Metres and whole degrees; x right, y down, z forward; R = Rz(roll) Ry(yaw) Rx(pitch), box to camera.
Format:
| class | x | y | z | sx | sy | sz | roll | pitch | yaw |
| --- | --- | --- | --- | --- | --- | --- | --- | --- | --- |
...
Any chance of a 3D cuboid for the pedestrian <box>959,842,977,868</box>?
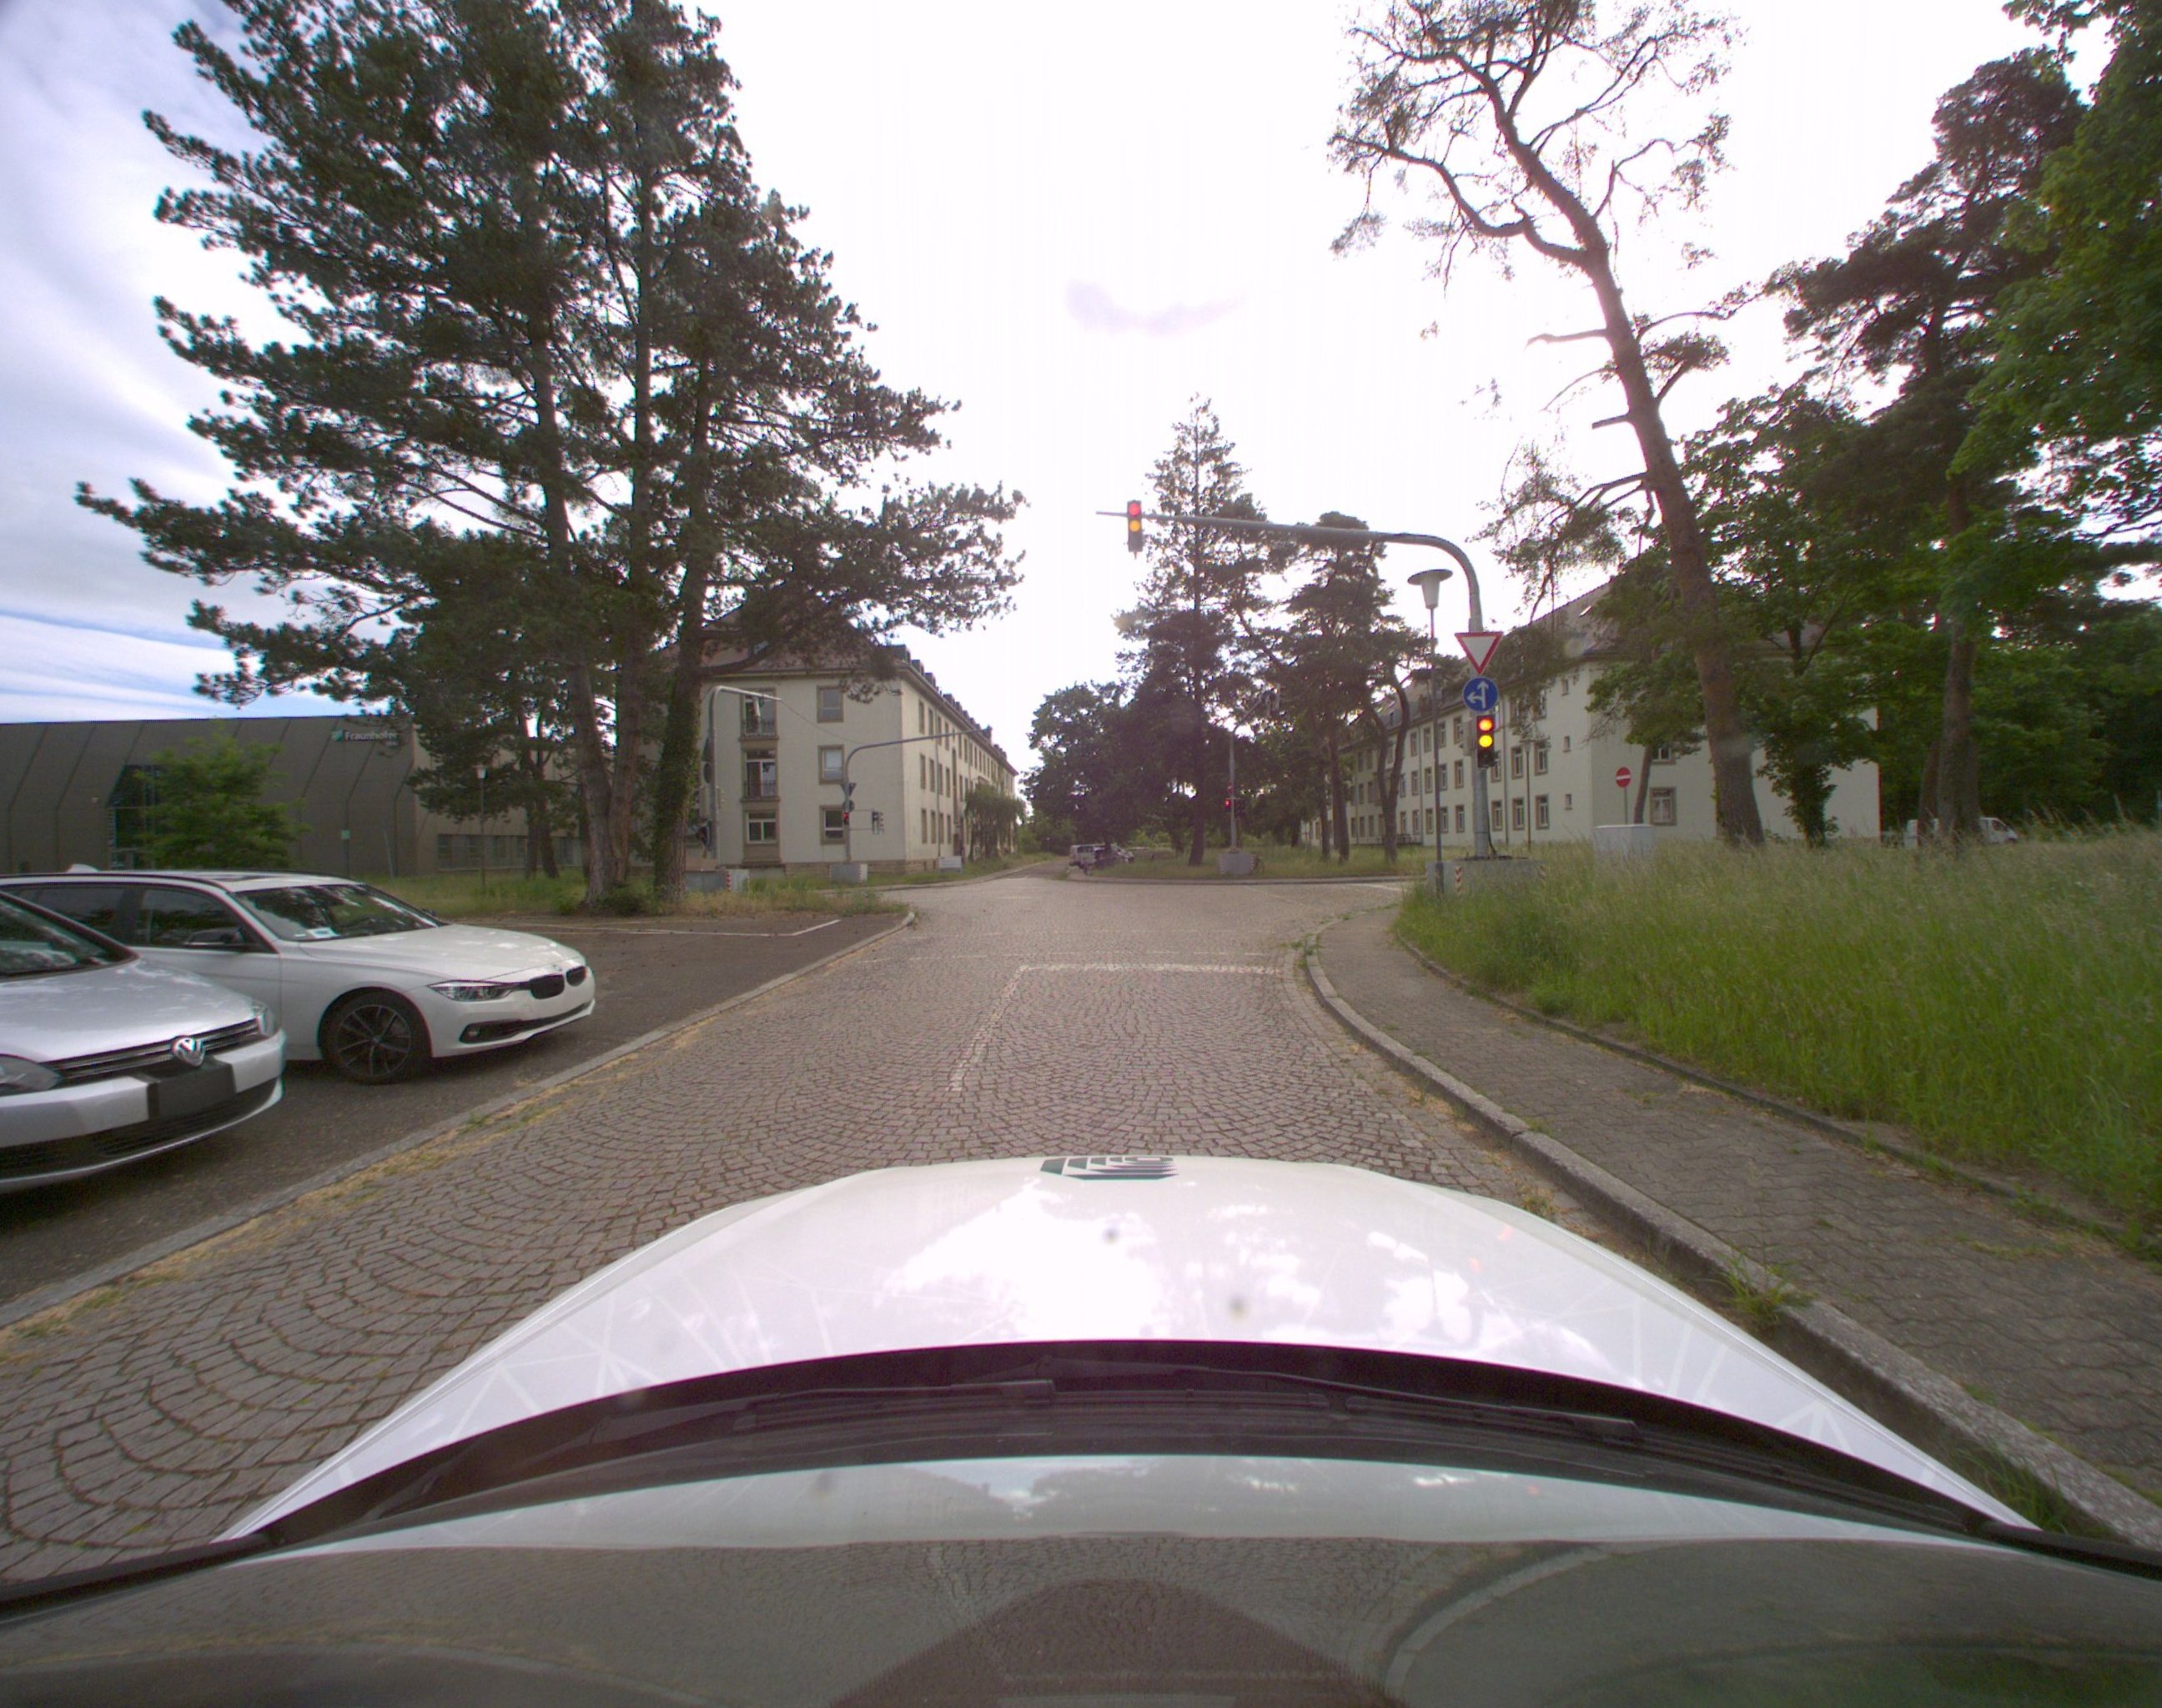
| class | x | y | z | sx | sy | sz | roll | pitch | yaw |
| --- | --- | --- | --- | --- | --- | --- | --- | --- | --- |
| pedestrian | -8.892 | 0.057 | 64.156 | 1.081 | 2.013 | 1.023 | -1 | 0 | 6 |

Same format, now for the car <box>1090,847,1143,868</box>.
| class | x | y | z | sx | sy | sz | roll | pitch | yaw |
| --- | --- | --- | --- | --- | --- | --- | --- | --- | --- |
| car | 2.706 | 0.267 | 63.039 | 3.924 | 1.544 | 1.997 | -1 | 0 | -4 |

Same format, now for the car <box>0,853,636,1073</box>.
| class | x | y | z | sx | sy | sz | roll | pitch | yaw |
| --- | --- | --- | --- | --- | --- | --- | --- | --- | --- |
| car | -6.383 | 0.762 | 6.456 | 4.636 | 1.443 | 1.800 | 1 | 0 | -3 |

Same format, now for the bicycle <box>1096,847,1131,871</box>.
| class | x | y | z | sx | sy | sz | roll | pitch | yaw |
| --- | --- | --- | --- | --- | --- | --- | --- | --- | --- |
| bicycle | 1.952 | 0.289 | 49.193 | 2.062 | 1.378 | 0.620 | -1 | 0 | 1 |

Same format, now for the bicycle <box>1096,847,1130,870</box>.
| class | x | y | z | sx | sy | sz | roll | pitch | yaw |
| --- | --- | --- | --- | --- | --- | --- | --- | --- | --- |
| bicycle | 1.985 | 0.290 | 50.615 | 2.062 | 1.378 | 0.620 | -1 | 0 | 1 |

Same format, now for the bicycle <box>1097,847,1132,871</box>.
| class | x | y | z | sx | sy | sz | roll | pitch | yaw |
| --- | --- | --- | --- | --- | --- | --- | --- | --- | --- |
| bicycle | 1.982 | 0.289 | 48.522 | 2.062 | 1.378 | 0.620 | -1 | 0 | 1 |

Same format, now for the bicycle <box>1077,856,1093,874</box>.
| class | x | y | z | sx | sy | sz | roll | pitch | yaw |
| --- | --- | --- | --- | --- | --- | --- | --- | --- | --- |
| bicycle | 0.262 | 0.611 | 46.746 | 0.614 | 0.963 | 2.081 | -1 | 0 | 8 |

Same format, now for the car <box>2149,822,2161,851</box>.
| class | x | y | z | sx | sy | sz | roll | pitch | yaw |
| --- | --- | --- | --- | --- | --- | --- | --- | --- | --- |
| car | 57.509 | -0.943 | 41.518 | 3.468 | 1.507 | 2.001 | -1 | 0 | 2 |

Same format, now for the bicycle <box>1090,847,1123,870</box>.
| class | x | y | z | sx | sy | sz | roll | pitch | yaw |
| --- | --- | --- | --- | --- | --- | --- | --- | --- | --- |
| bicycle | 1.640 | 0.288 | 52.156 | 2.062 | 1.378 | 0.620 | -1 | 0 | 1 |

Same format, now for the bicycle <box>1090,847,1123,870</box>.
| class | x | y | z | sx | sy | sz | roll | pitch | yaw |
| --- | --- | --- | --- | --- | --- | --- | --- | --- | --- |
| bicycle | 1.669 | 0.289 | 52.903 | 2.062 | 1.378 | 0.620 | -1 | 0 | 1 |

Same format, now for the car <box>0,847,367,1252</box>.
| class | x | y | z | sx | sy | sz | roll | pitch | yaw |
| --- | --- | --- | --- | --- | --- | --- | --- | --- | --- |
| car | -6.227 | 0.736 | 3.873 | 3.979 | 1.547 | 1.722 | 1 | 0 | -4 |

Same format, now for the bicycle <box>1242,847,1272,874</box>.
| class | x | y | z | sx | sy | sz | roll | pitch | yaw |
| --- | --- | --- | --- | --- | --- | --- | --- | --- | --- |
| bicycle | 7.798 | 0.283 | 36.178 | 0.905 | 1.177 | 1.874 | -1 | 0 | 0 |

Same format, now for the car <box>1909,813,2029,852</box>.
| class | x | y | z | sx | sy | sz | roll | pitch | yaw |
| --- | --- | --- | --- | --- | --- | --- | --- | --- | --- |
| car | 56.979 | -1.359 | 52.317 | 5.160 | 2.288 | 2.214 | -1 | 0 | 2 |

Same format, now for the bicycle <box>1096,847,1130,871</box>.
| class | x | y | z | sx | sy | sz | roll | pitch | yaw |
| --- | --- | --- | --- | --- | --- | --- | --- | --- | --- |
| bicycle | 1.961 | 0.289 | 49.818 | 2.062 | 1.378 | 0.620 | -1 | 0 | 1 |

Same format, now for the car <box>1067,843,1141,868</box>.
| class | x | y | z | sx | sy | sz | roll | pitch | yaw |
| --- | --- | --- | --- | --- | --- | --- | --- | --- | --- |
| car | 1.880 | 0.122 | 66.419 | 5.695 | 1.910 | 2.221 | -1 | 0 | -12 |

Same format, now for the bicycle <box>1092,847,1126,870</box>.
| class | x | y | z | sx | sy | sz | roll | pitch | yaw |
| --- | --- | --- | --- | --- | --- | --- | --- | --- | --- |
| bicycle | 1.776 | 0.287 | 51.416 | 2.062 | 1.378 | 0.620 | -1 | 0 | 1 |
